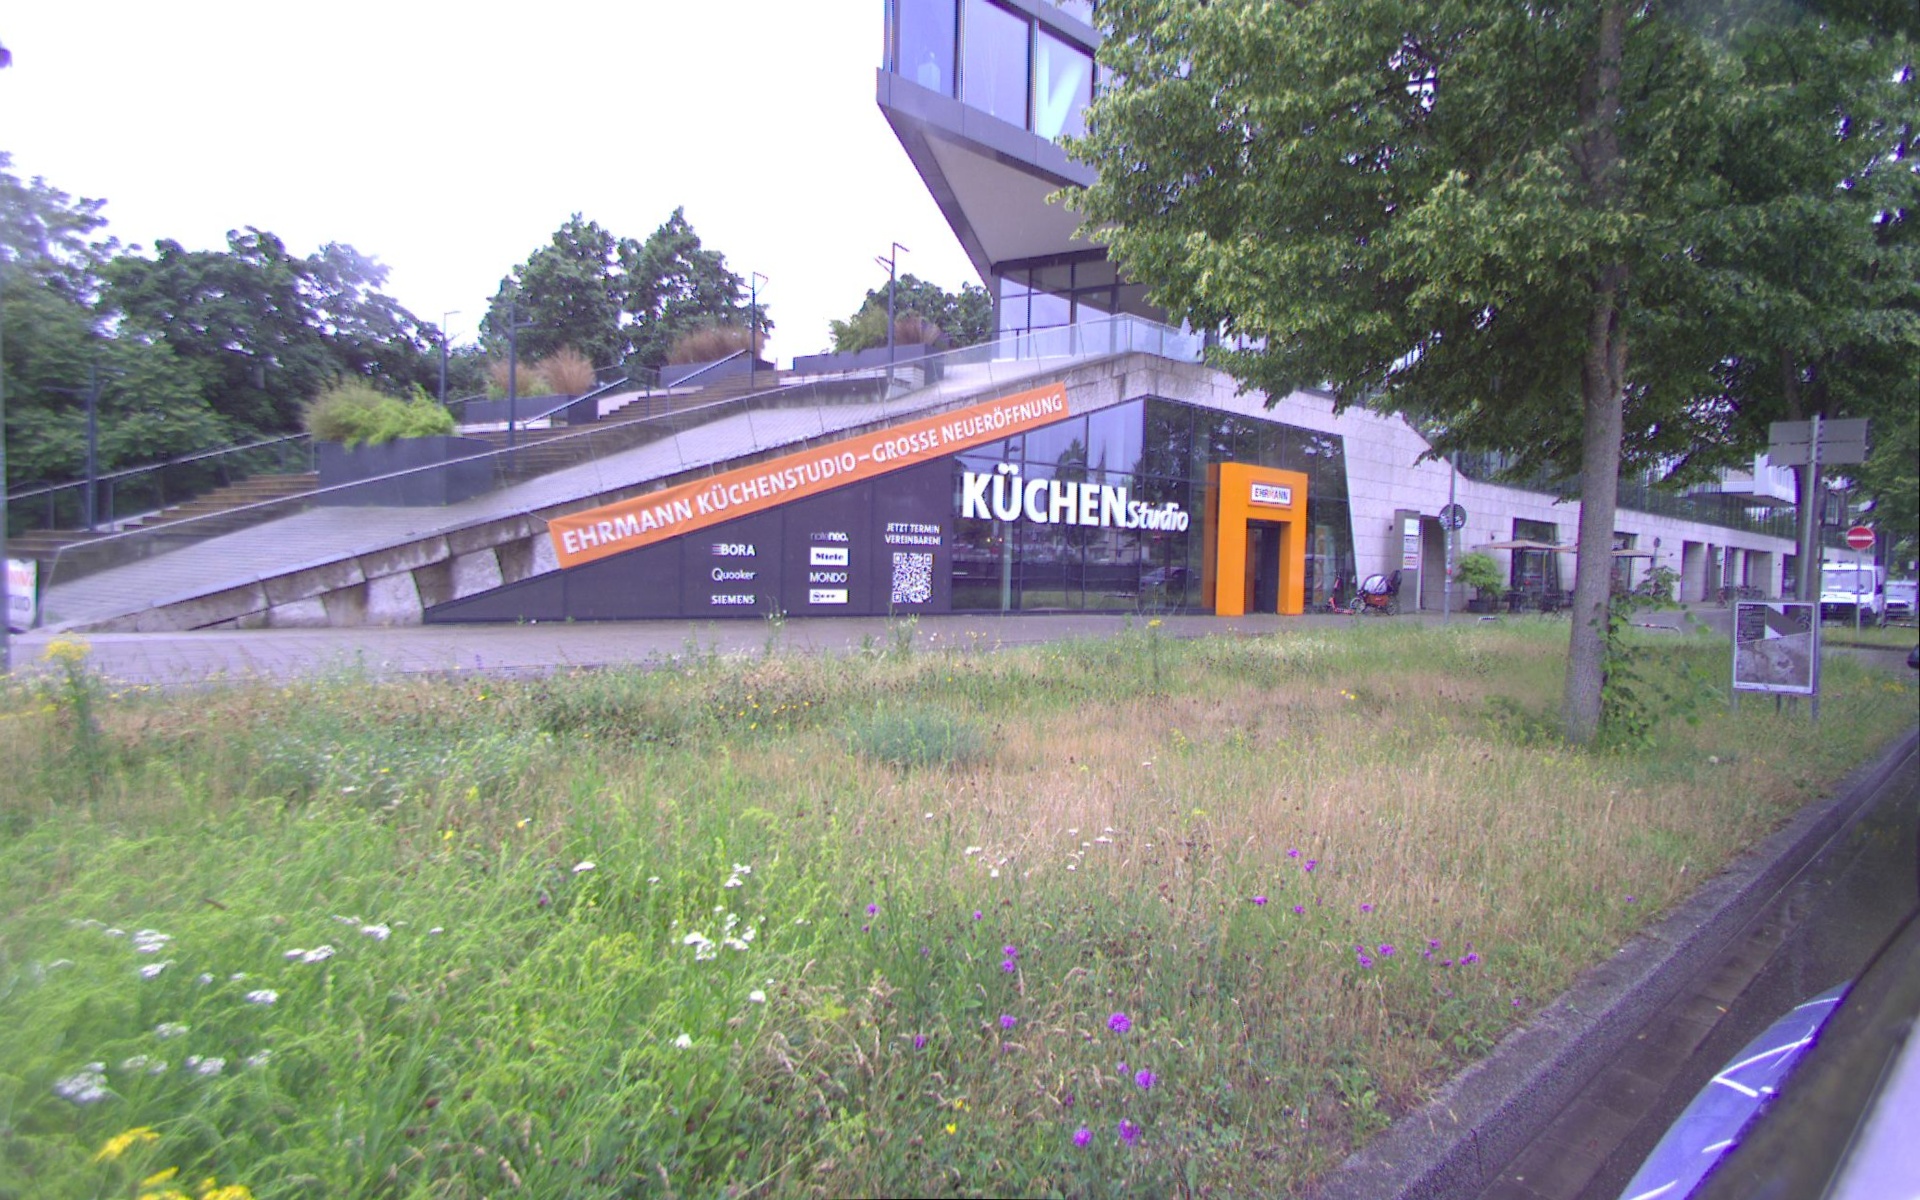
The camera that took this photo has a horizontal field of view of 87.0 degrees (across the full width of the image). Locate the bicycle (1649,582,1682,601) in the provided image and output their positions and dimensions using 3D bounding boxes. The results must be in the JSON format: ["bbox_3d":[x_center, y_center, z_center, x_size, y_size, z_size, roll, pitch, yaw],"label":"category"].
[{"bbox_3d":[36.621,-0.449,52.525,0.388,0.958,2.028,-1,1,4],"label":"bicycle"}]

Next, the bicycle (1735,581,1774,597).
[{"bbox_3d":[53.907,-0.736,68.698,0.389,0.957,2.025,-1,4,-45],"label":"bicycle"}]

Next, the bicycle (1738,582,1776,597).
[{"bbox_3d":[54.779,-0.747,69.566,0.389,0.957,2.025,-1,4,-45],"label":"bicycle"}]

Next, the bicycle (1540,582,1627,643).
[{"bbox_3d":[14.589,0.274,23.747,0.521,1.363,1.852,2,1,-16],"label":"bicycle"}]

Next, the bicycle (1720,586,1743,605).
[{"bbox_3d":[40.176,-0.264,52.706,1.823,0.957,0.403,-1,2,-34],"label":"bicycle"}]

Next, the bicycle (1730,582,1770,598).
[{"bbox_3d":[52.626,-0.700,67.428,0.389,0.957,2.025,-1,4,-45],"label":"bicycle"}]

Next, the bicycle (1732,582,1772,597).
[{"bbox_3d":[53.102,-0.707,67.872,0.389,0.957,2.025,-1,4,-45],"label":"bicycle"}]

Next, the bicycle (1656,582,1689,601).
[{"bbox_3d":[37.248,-0.463,52.944,0.388,0.958,2.028,-1,1,4],"label":"bicycle"}]

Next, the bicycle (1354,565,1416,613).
[{"bbox_3d":[13.313,-0.349,31.694,2.382,1.419,0.734,0,3,-41],"label":"bicycle"}]

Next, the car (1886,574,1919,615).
[{"bbox_3d":[43.446,-0.277,45.836,4.766,1.781,1.744,-1,2,-42],"label":"car"}]

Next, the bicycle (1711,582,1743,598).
[{"bbox_3d":[49.452,-0.672,65.260,0.339,0.957,1.665,0,3,-22],"label":"bicycle"}]

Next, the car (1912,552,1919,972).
[{"bbox_3d":[5.781,0.592,4.528,3.930,1.632,1.814,-1,1,-41],"label":"car"}]

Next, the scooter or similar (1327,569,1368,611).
[{"bbox_3d":[11.746,-0.318,30.672,1.214,1.243,0.343,-1,0,-22],"label":"scooter or similar"}]

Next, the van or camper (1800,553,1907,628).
[{"bbox_3d":[29.661,-0.365,33.539,5.367,2.320,2.028,-1,2,-42],"label":"van or camper"}]
